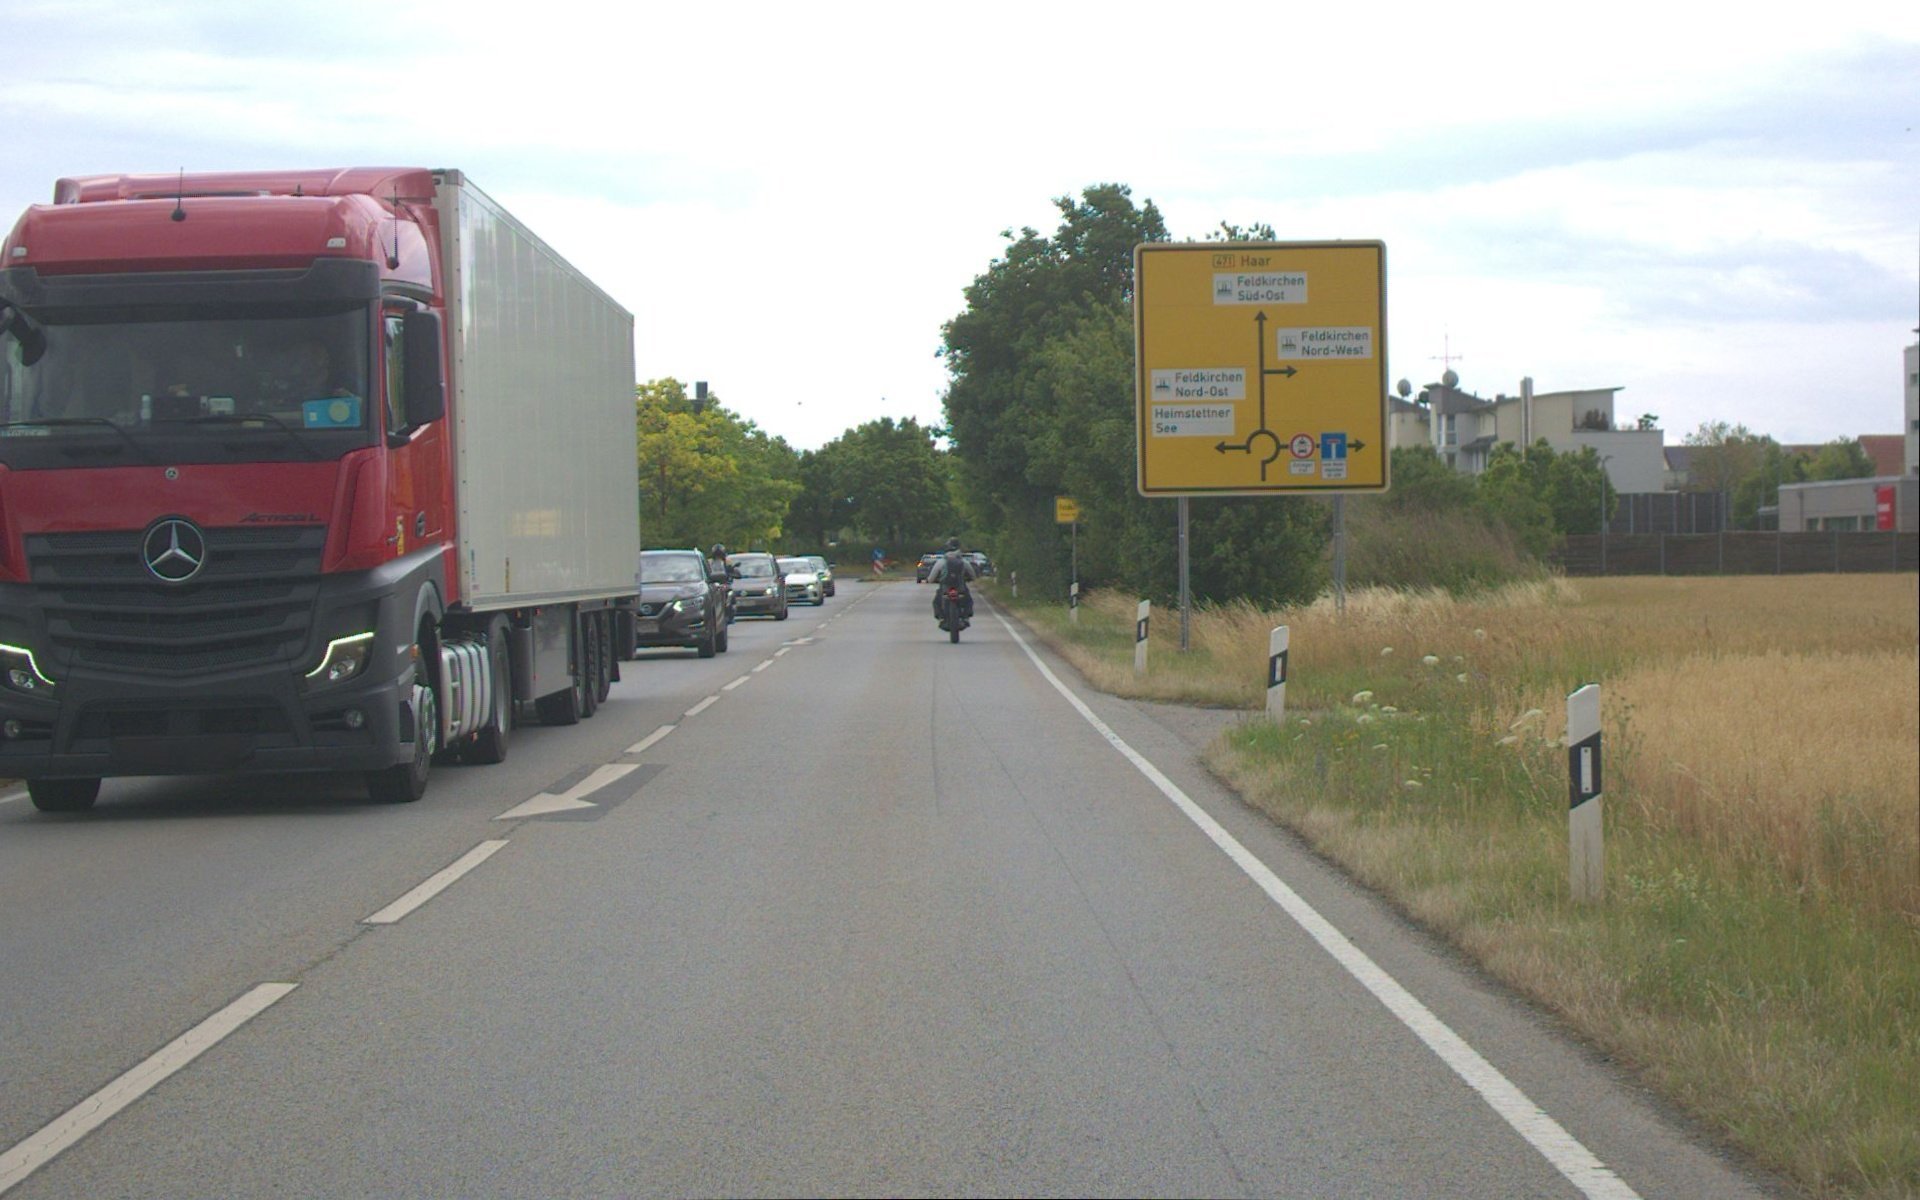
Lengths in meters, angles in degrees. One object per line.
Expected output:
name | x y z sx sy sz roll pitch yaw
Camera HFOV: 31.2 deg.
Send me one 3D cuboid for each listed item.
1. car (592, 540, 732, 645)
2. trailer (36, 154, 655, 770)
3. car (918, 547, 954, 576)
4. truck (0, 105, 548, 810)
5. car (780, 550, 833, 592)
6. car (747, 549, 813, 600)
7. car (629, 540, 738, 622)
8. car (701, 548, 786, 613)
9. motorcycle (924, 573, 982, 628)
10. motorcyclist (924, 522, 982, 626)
car | -4.364 -0.133 50.882 1.855 1.467 4.000 -1 1 -2
trailer | -4.600 -1.002 29.230 2.729 3.932 13.782 -2 1 0
car | -1.263 -2.058 181.841 1.855 1.467 4.000 -1 1 0
truck | -4.583 -0.861 23.095 2.729 3.973 6.816 -2 1 0
car | -5.579 -1.064 125.368 1.855 1.467 4.000 -1 1 -2
car | -5.322 -0.773 101.999 1.855 1.467 4.000 -1 1 -2
car | -5.201 -0.384 65.090 1.855 1.467 4.000 -1 1 -2
car | -5.032 -0.473 80.286 1.855 1.467 4.000 -1 1 -2
motorcycle | -0.126 -0.004 58.371 0.941 0.887 2.146 -1 1 -1
motorcyclist | -0.123 -0.449 58.436 0.941 1.744 1.200 -1 1 -1
